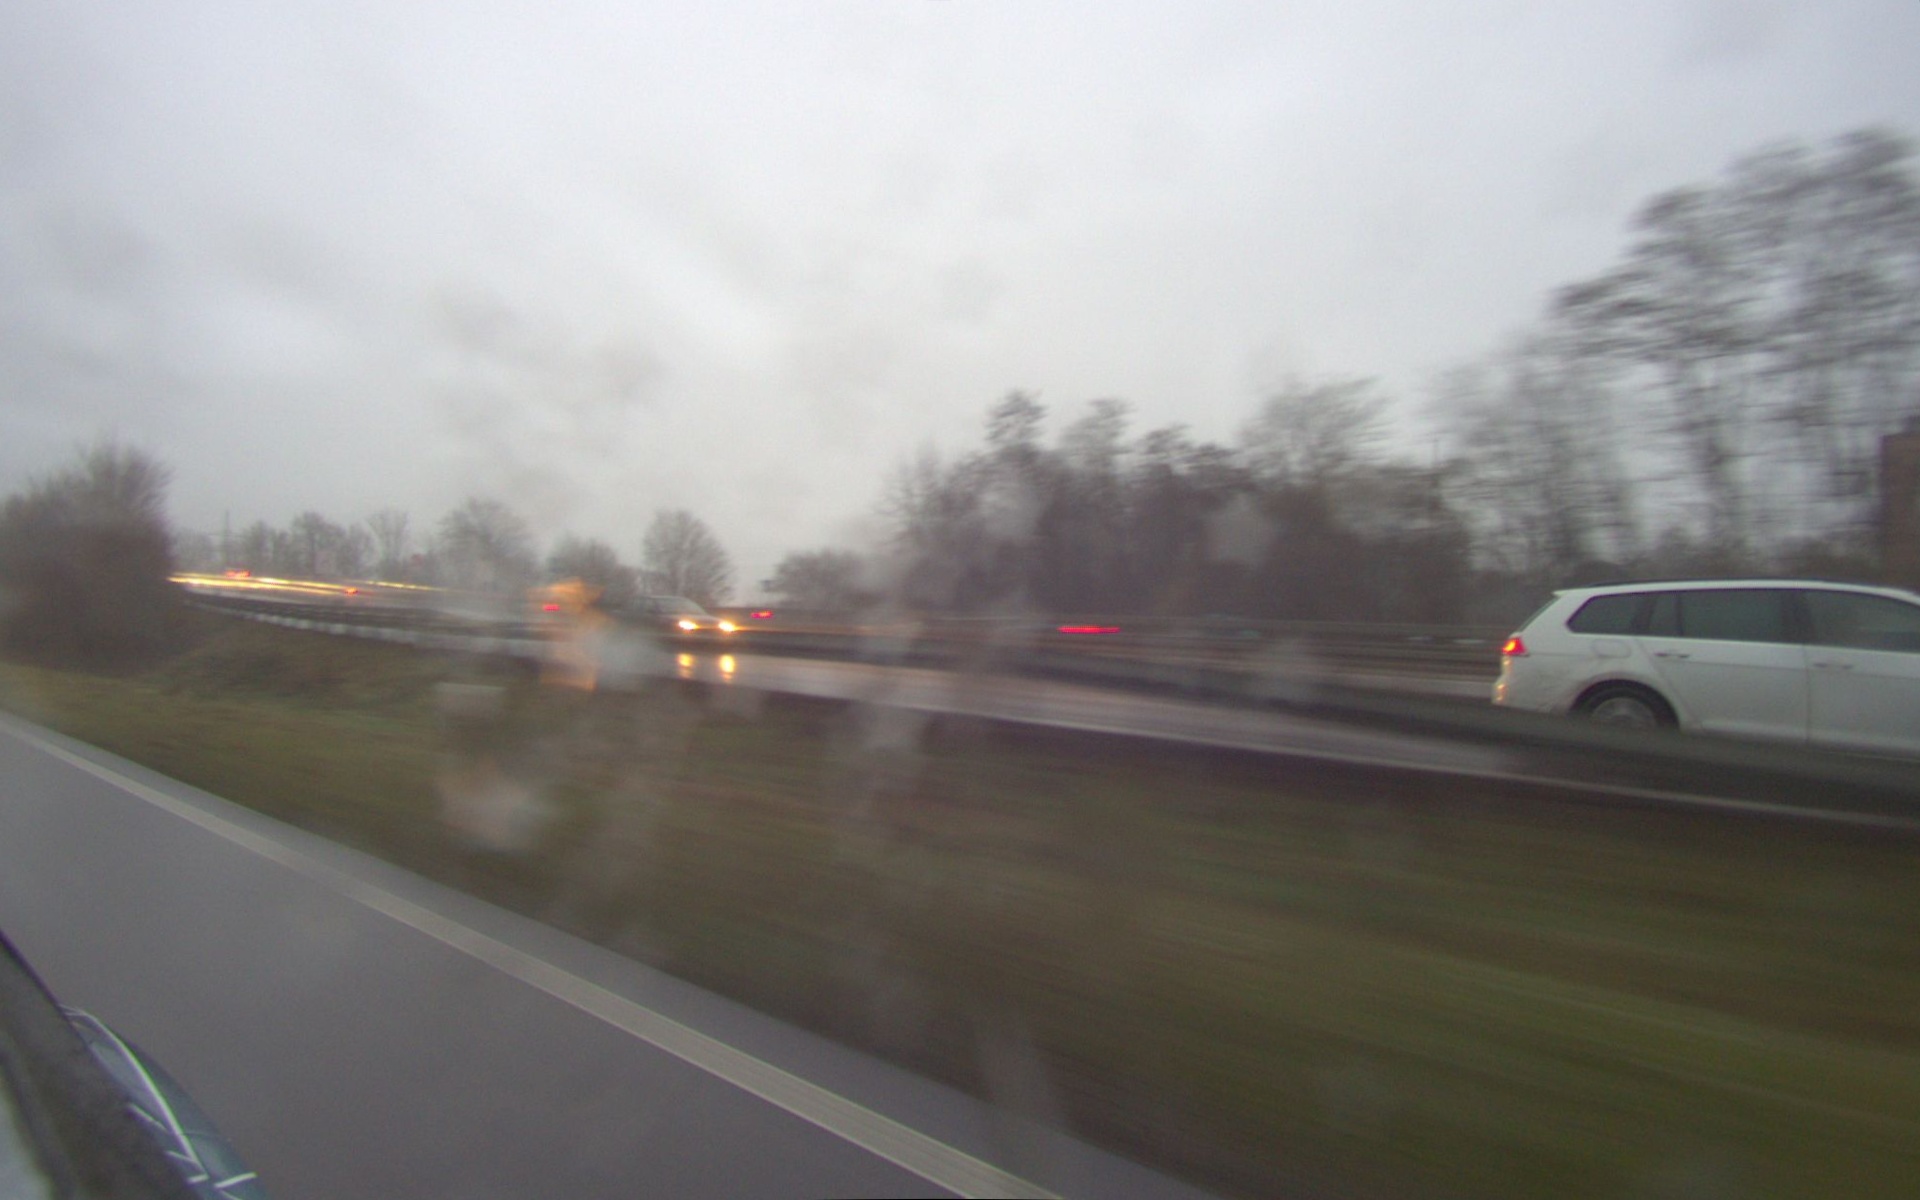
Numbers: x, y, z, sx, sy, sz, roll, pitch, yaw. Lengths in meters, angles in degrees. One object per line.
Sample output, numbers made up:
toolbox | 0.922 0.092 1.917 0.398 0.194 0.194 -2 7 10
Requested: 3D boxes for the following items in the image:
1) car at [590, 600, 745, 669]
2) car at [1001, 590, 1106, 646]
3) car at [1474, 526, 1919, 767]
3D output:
car | -7.659 0.882 26.255 1.756 1.545 4.705 -5 2 -45
car | 3.518 0.676 38.852 1.886 2.029 4.010 0 -1 -34
car | 6.596 0.330 7.303 1.925 1.532 4.790 3 -3 -44
